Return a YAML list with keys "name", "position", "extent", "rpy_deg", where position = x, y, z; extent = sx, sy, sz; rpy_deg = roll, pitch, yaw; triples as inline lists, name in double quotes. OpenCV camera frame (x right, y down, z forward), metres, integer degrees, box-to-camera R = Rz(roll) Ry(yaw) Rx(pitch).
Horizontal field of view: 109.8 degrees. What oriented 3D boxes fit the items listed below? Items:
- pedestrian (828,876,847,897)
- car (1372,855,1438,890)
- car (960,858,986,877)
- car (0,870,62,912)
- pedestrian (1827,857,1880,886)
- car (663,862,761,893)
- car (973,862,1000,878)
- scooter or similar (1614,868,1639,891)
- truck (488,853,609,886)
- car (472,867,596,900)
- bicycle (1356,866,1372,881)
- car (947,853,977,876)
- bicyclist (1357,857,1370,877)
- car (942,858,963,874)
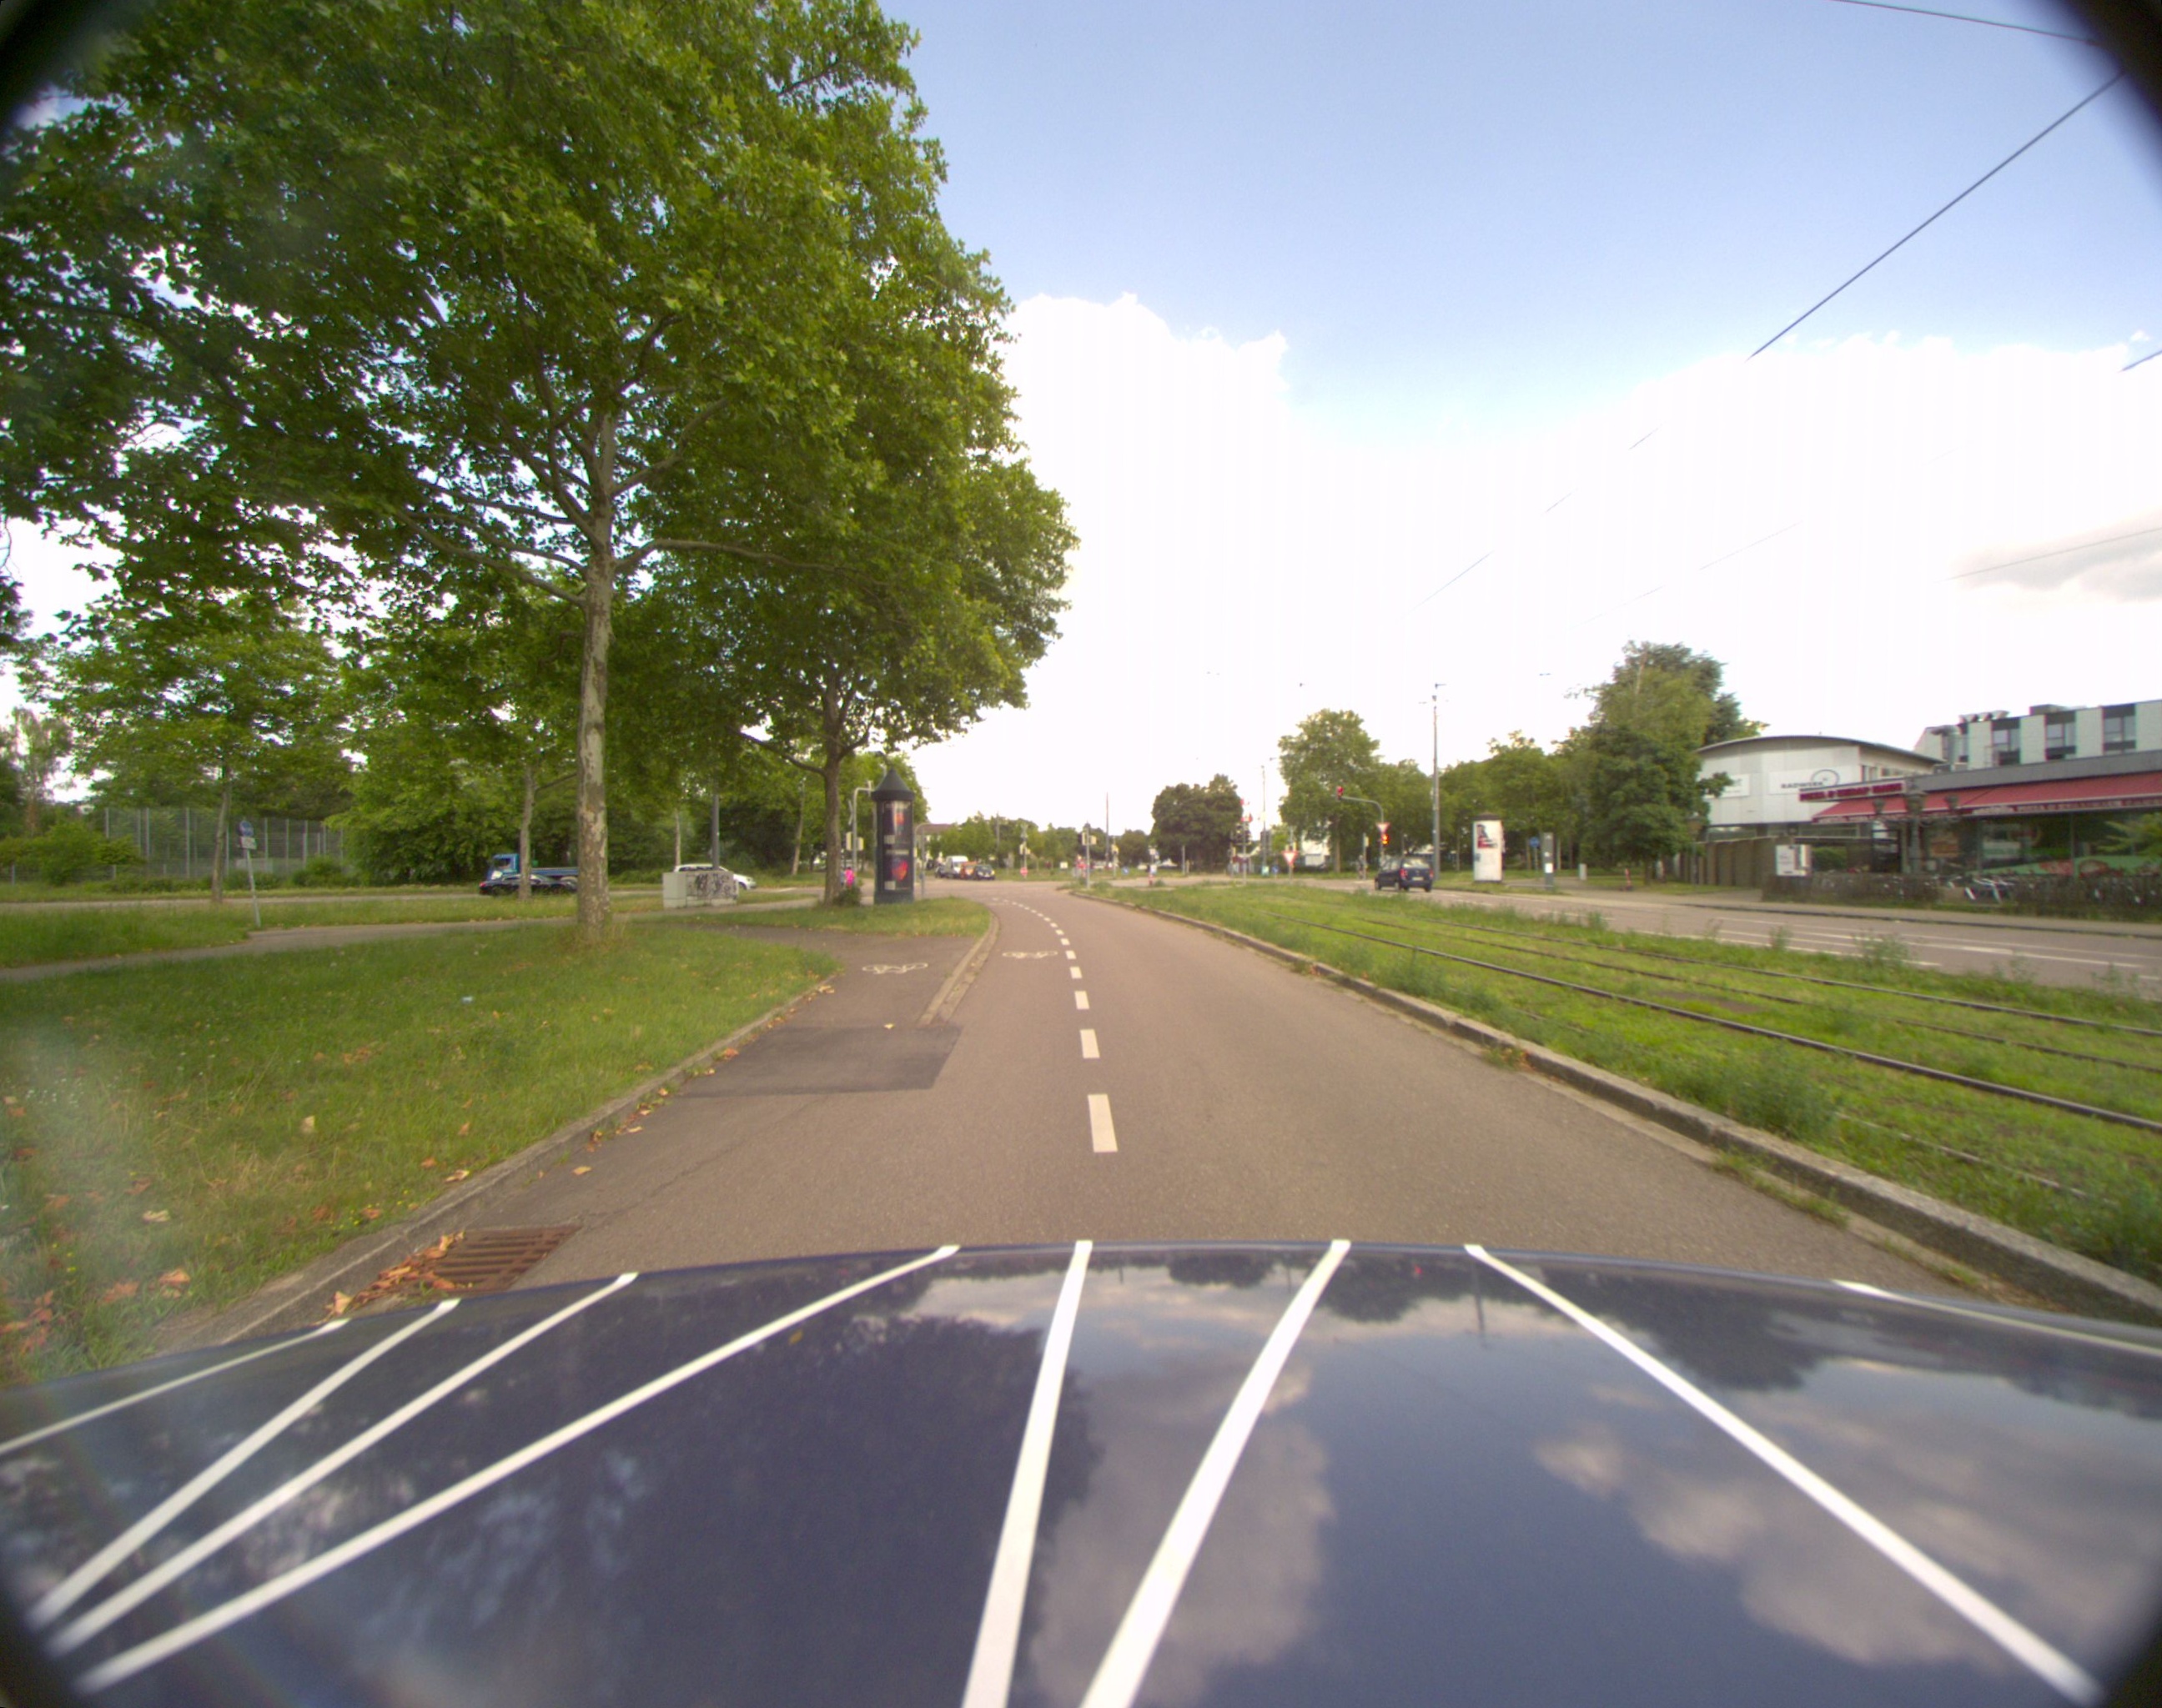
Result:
- name: "pedestrian"
  position: [-12.079, 1.611, 37.778]
  extent: [0.722, 1.028, 0.901]
  rpy_deg: [-1, 0, -6]
- name: "car"
  position: [15.473, 0.851, 36.499]
  extent: [1.783, 1.617, 3.496]
  rpy_deg: [0, 0, 2]
- name: "car"
  position: [-11.458, 1.386, 80.488]
  extent: [1.798, 1.924, 4.361]
  rpy_deg: [-1, 0, -20]
- name: "car"
  position: [-44.317, 1.485, 29.887]
  extent: [4.691, 1.601, 1.996]
  rpy_deg: [0, 1, -21]
- name: "pedestrian"
  position: [30.743, 0.682, 30.260]
  extent: [1.156, 1.139, 0.932]
  rpy_deg: [0, 0, 1]
- name: "car"
  position: [-20.314, 1.274, 42.042]
  extent: [4.692, 1.601, 1.996]
  rpy_deg: [0, 1, -21]
- name: "car"
  position: [-9.359, 1.572, 74.770]
  extent: [1.798, 1.530, 3.994]
  rpy_deg: [-1, 0, -19]
- name: "scooter or similar"
  position: [25.108, 1.157, 35.000]
  extent: [0.427, 1.027, 1.224]
  rpy_deg: [-1, 0, 10]
- name: "truck"
  position: [-33.894, 0.964, 48.576]
  extent: [5.860, 2.002, 2.289]
  rpy_deg: [0, 0, -17]
- name: "car"
  position: [-27.741, 1.468, 38.759]
  extent: [4.754, 1.461, 1.996]
  rpy_deg: [0, 1, -21]
- name: "bicycle"
  position: [20.981, 1.437, 56.384]
  extent: [0.803, 1.053, 2.072]
  rpy_deg: [-2, -2, 14]
- name: "car"
  position: [-13.609, 1.174, 86.660]
  extent: [2.242, 2.492, 5.716]
  rpy_deg: [-1, 0, -21]
- name: "bicyclist"
  position: [20.990, 0.987, 56.473]
  extent: [0.803, 1.461, 0.833]
  rpy_deg: [-2, -1, 14]
- name: "car"
  position: [-15.593, 1.435, 92.030]
  extent: [1.798, 1.924, 4.361]
  rpy_deg: [-1, 0, -20]
